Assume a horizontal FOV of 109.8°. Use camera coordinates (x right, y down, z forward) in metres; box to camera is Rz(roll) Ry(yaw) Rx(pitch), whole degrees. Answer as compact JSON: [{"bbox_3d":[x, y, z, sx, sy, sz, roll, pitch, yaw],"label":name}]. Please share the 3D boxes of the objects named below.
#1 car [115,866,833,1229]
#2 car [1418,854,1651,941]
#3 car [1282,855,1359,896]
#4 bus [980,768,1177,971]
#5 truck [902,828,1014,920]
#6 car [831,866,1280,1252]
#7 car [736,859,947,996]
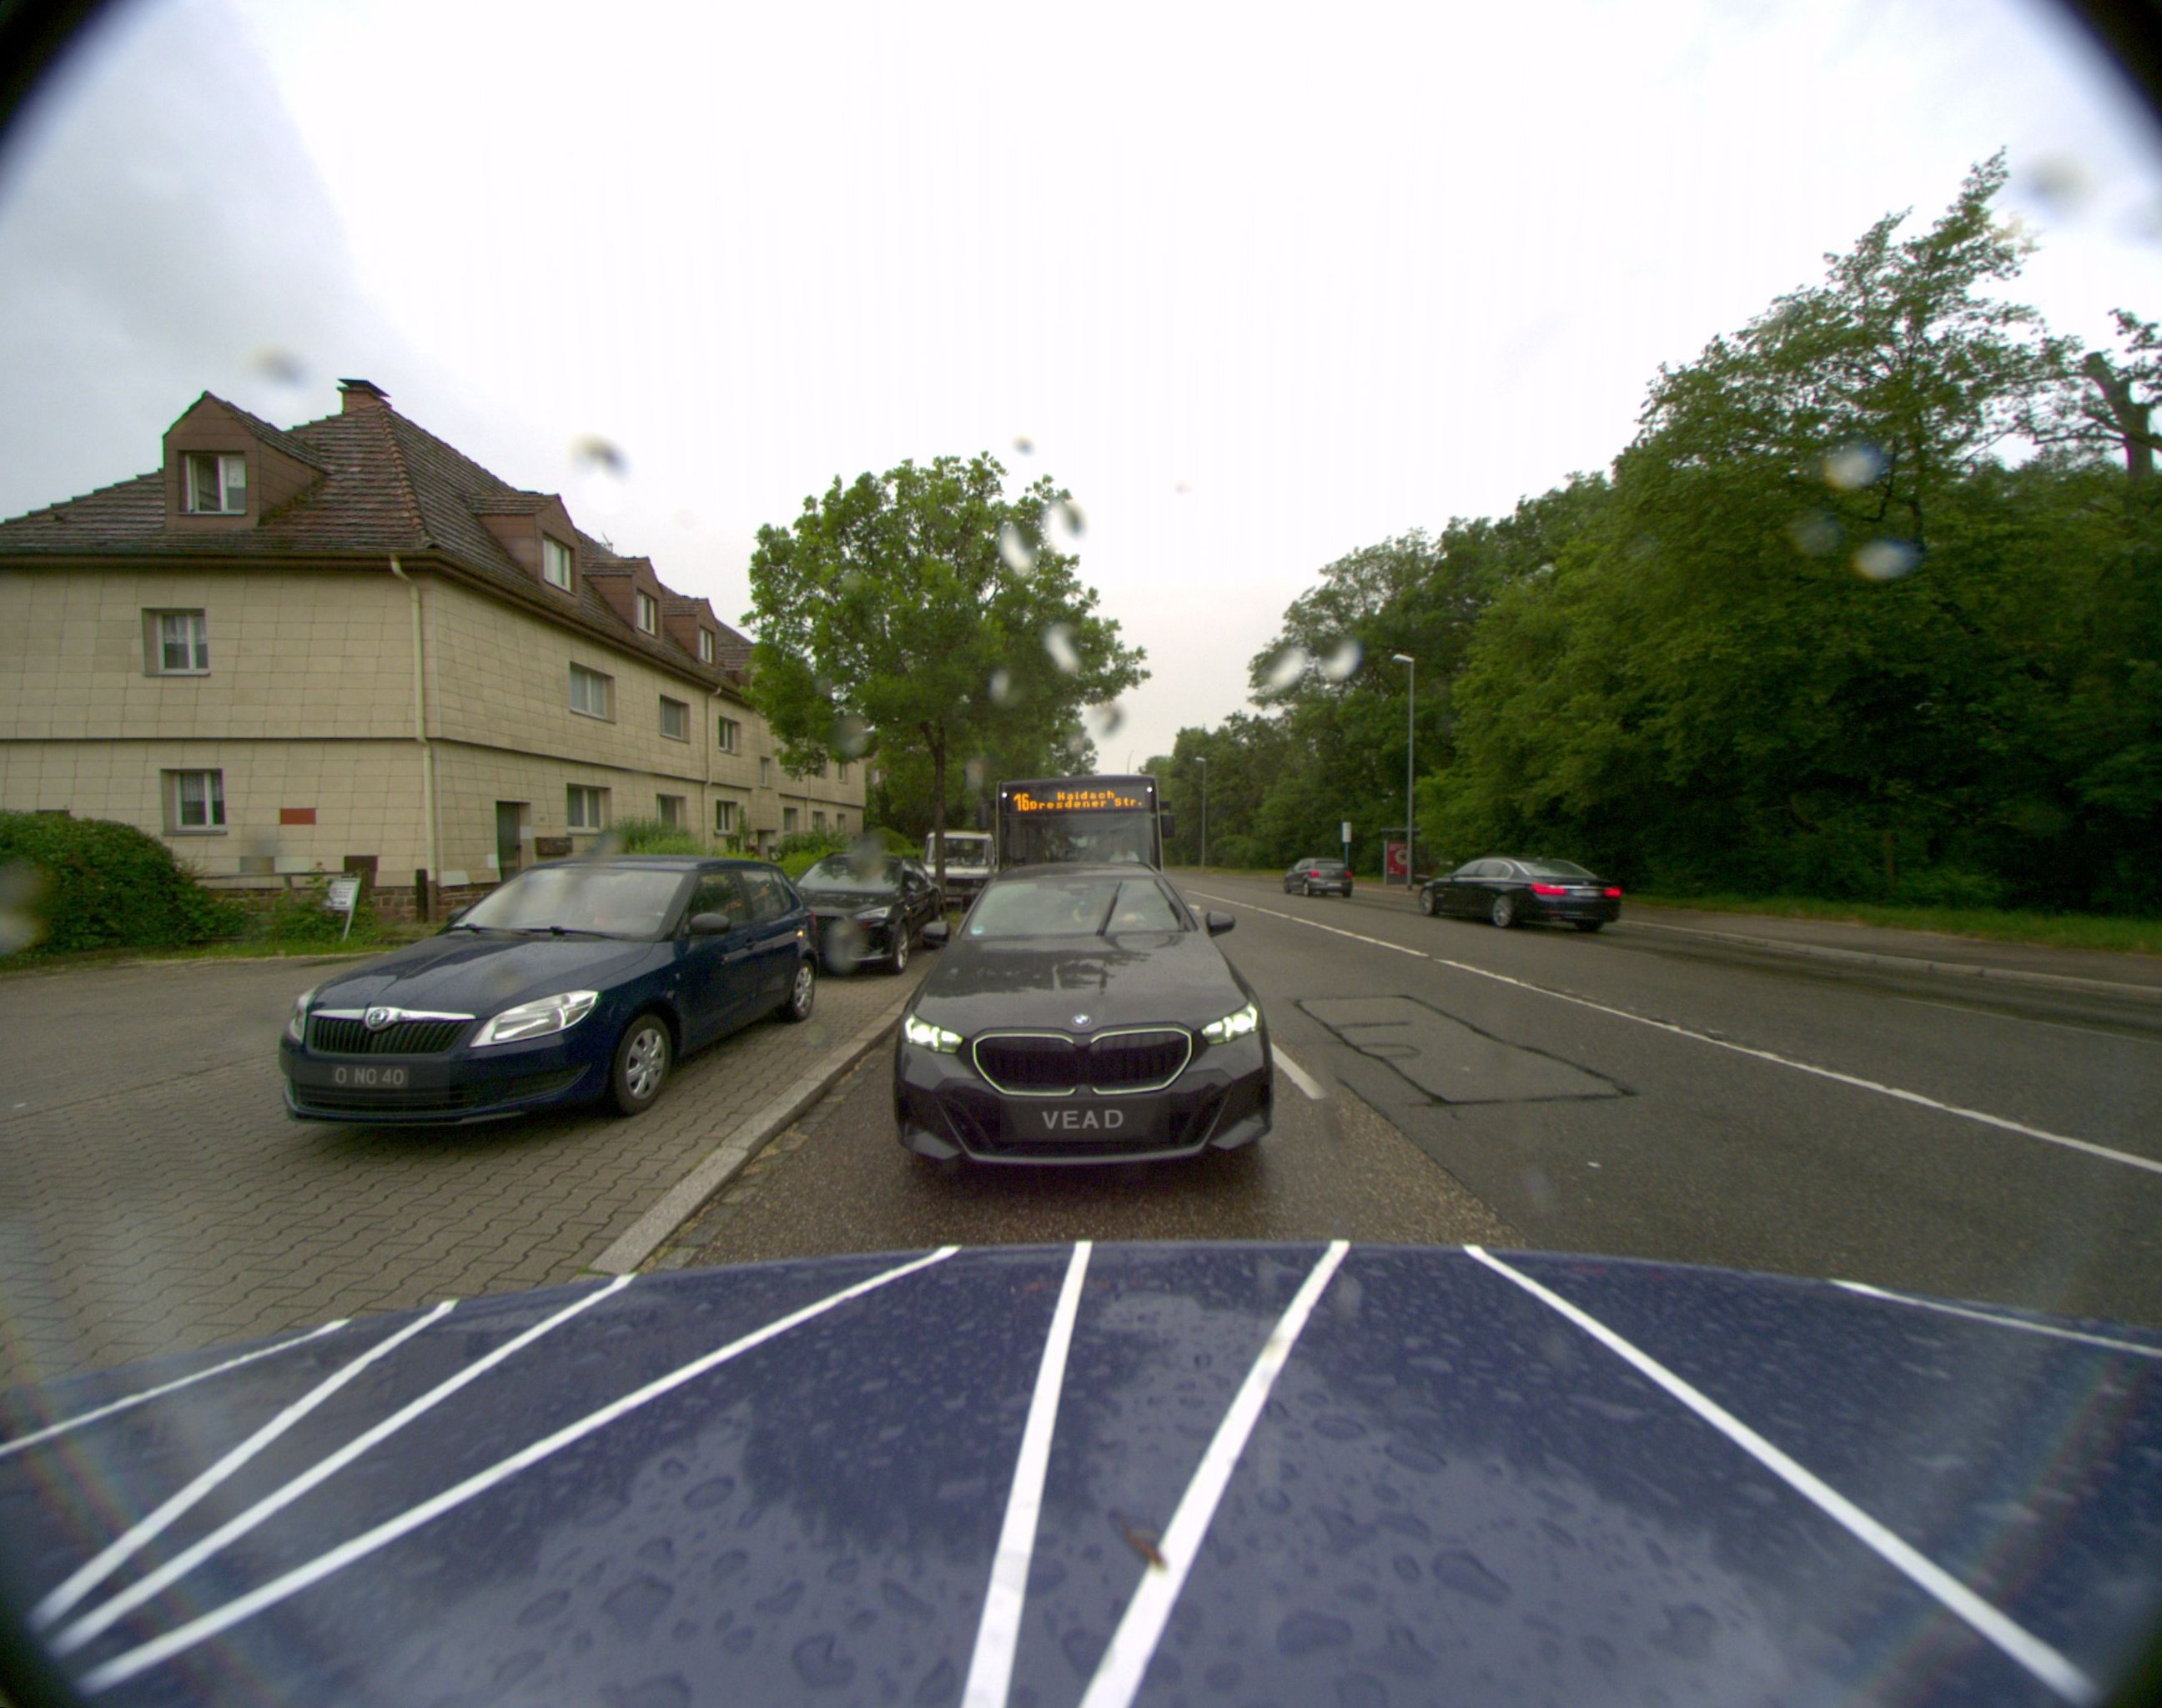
[{"bbox_3d":[-3.265,0.862,5.262,1.720,1.416,3.999,1,1,1],"label":"car"},{"bbox_3d":[9.367,0.802,16.335,1.915,1.445,4.947,3,1,-1],"label":"car"},{"bbox_3d":[9.077,0.766,29.120,1.598,1.420,3.905,1,0,-1],"label":"car"},{"bbox_3d":[0.091,0.179,15.779,2.767,2.858,9.403,-2,1,2],"label":"bus"},{"bbox_3d":[-3.178,0.481,20.930,1.998,2.184,5.756,0,0,2],"label":"truck"},{"bbox_3d":[-0.083,0.933,5.473,1.882,1.520,4.316,-3,0,1],"label":"car"},{"bbox_3d":[-3.073,0.855,10.638,1.720,1.455,3.999,1,1,-1],"label":"car"}]
